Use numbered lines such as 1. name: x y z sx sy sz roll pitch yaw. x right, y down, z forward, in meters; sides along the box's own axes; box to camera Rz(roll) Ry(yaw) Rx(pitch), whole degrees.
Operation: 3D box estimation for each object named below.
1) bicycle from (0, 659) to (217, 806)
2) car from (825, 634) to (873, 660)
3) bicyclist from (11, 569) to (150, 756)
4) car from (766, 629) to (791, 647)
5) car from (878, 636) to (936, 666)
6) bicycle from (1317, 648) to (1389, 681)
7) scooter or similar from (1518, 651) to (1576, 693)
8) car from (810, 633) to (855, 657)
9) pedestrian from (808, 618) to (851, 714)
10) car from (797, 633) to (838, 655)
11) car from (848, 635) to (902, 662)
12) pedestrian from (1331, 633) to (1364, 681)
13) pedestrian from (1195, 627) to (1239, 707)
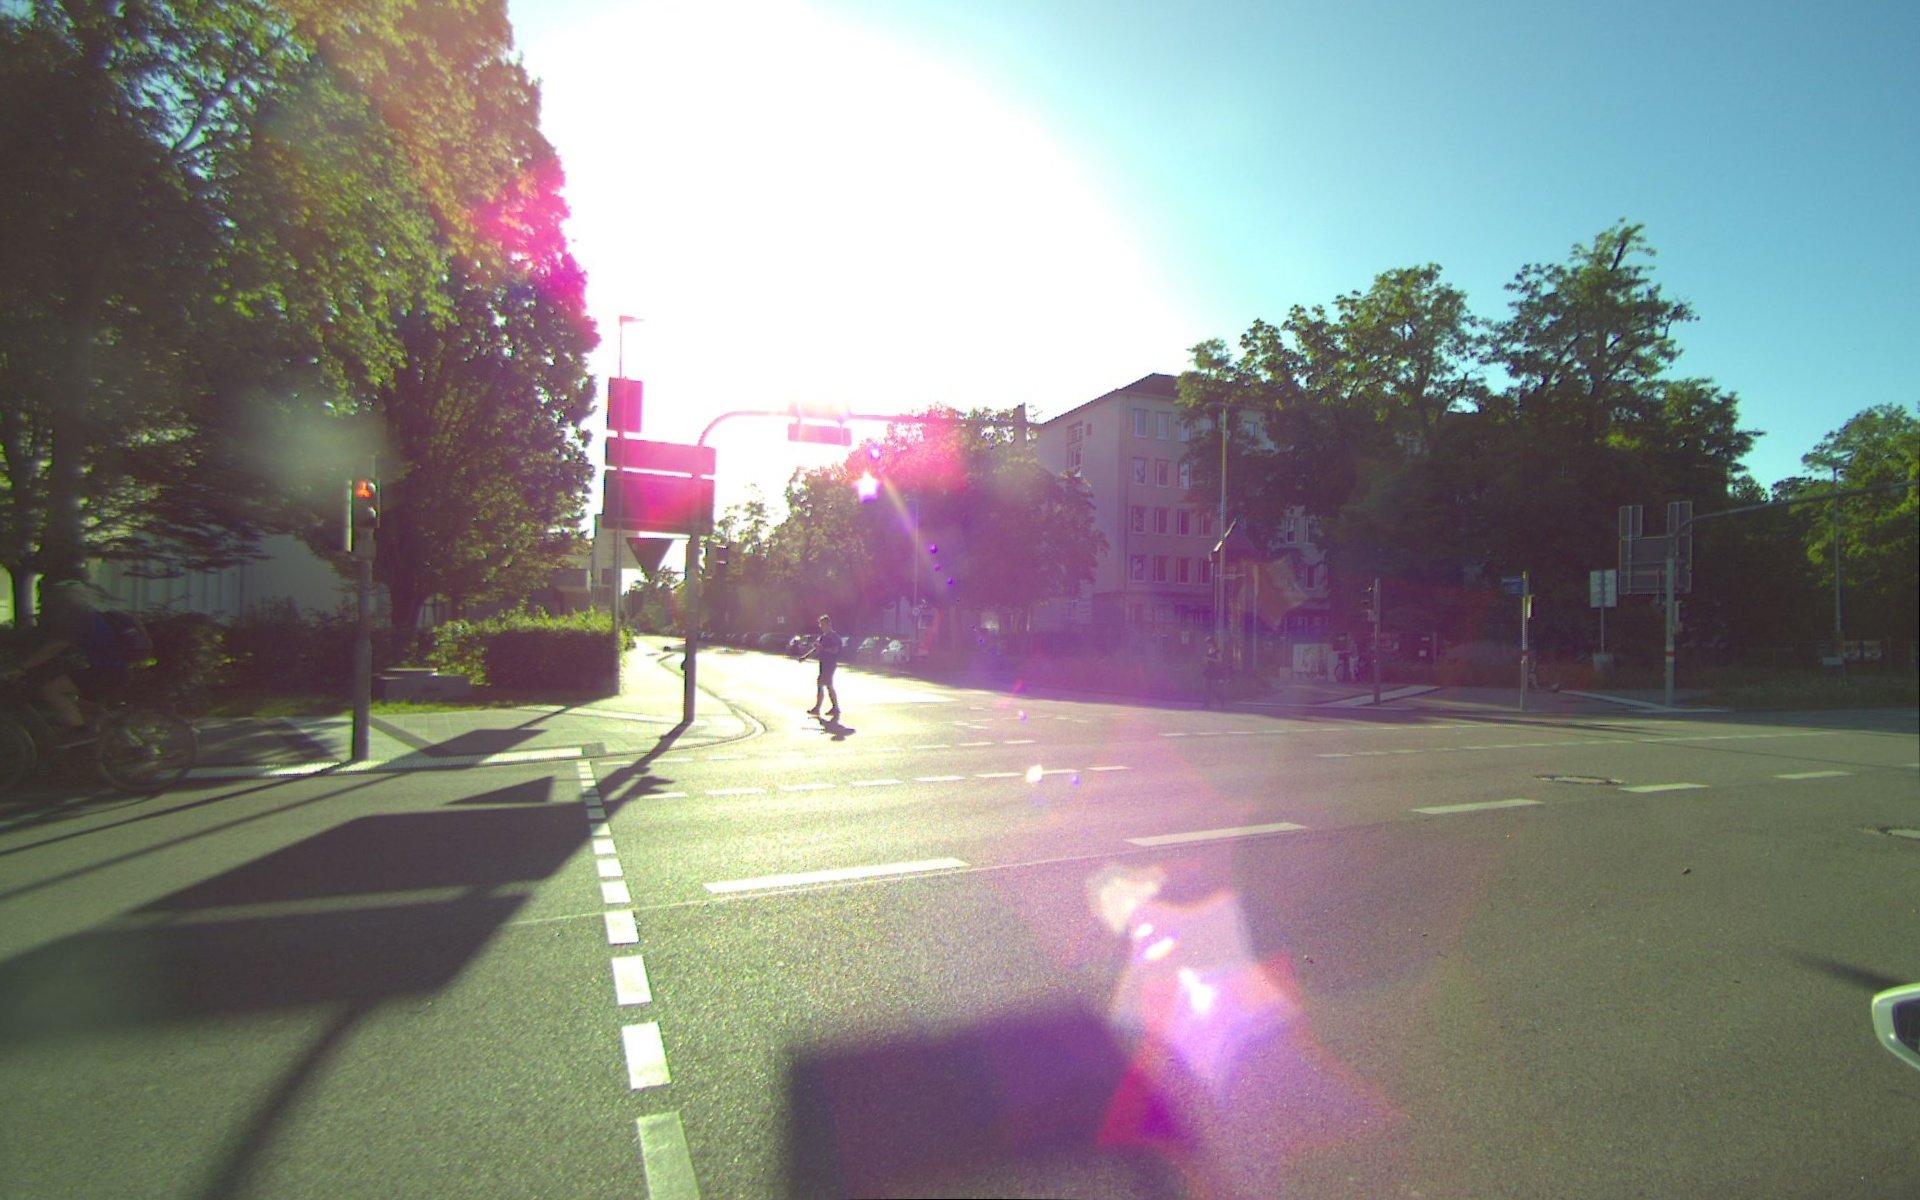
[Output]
1. bicycle: -7.557 1.069 8.336 2.167 1.131 0.692 2 -2 -35
2. car: -7.298 3.052 65.649 2.204 1.559 4.240 2 -2 -20
3. bicyclist: -7.390 0.519 8.484 0.750 1.485 0.691 2 -2 -35
4. car: -17.237 3.582 95.194 1.783 1.607 3.984 2 -2 -19
5. car: -3.001 2.803 55.888 2.038 1.559 4.240 2 -2 -20
6. bicycle: 14.510 2.377 37.169 0.966 1.150 2.565 2 -2 -23
7. scooter or similar: 19.101 2.337 32.700 1.466 1.311 0.696 1 -2 1
8. car: -8.986 3.143 70.373 2.204 1.559 4.240 2 -2 -20
9. pedestrian: -2.560 1.277 19.661 0.670 1.840 0.689 2 -2 -20
10. car: -10.686 3.254 75.112 2.204 1.559 4.240 2 -2 -20
11. car: -5.198 2.916 61.002 2.204 1.559 4.240 2 -2 -20
12. pedestrian: 14.194 2.073 36.792 0.634 1.718 0.975 2 -2 -24
13. pedestrian: 6.062 1.574 23.709 0.715 1.840 0.742 2 -2 -20
